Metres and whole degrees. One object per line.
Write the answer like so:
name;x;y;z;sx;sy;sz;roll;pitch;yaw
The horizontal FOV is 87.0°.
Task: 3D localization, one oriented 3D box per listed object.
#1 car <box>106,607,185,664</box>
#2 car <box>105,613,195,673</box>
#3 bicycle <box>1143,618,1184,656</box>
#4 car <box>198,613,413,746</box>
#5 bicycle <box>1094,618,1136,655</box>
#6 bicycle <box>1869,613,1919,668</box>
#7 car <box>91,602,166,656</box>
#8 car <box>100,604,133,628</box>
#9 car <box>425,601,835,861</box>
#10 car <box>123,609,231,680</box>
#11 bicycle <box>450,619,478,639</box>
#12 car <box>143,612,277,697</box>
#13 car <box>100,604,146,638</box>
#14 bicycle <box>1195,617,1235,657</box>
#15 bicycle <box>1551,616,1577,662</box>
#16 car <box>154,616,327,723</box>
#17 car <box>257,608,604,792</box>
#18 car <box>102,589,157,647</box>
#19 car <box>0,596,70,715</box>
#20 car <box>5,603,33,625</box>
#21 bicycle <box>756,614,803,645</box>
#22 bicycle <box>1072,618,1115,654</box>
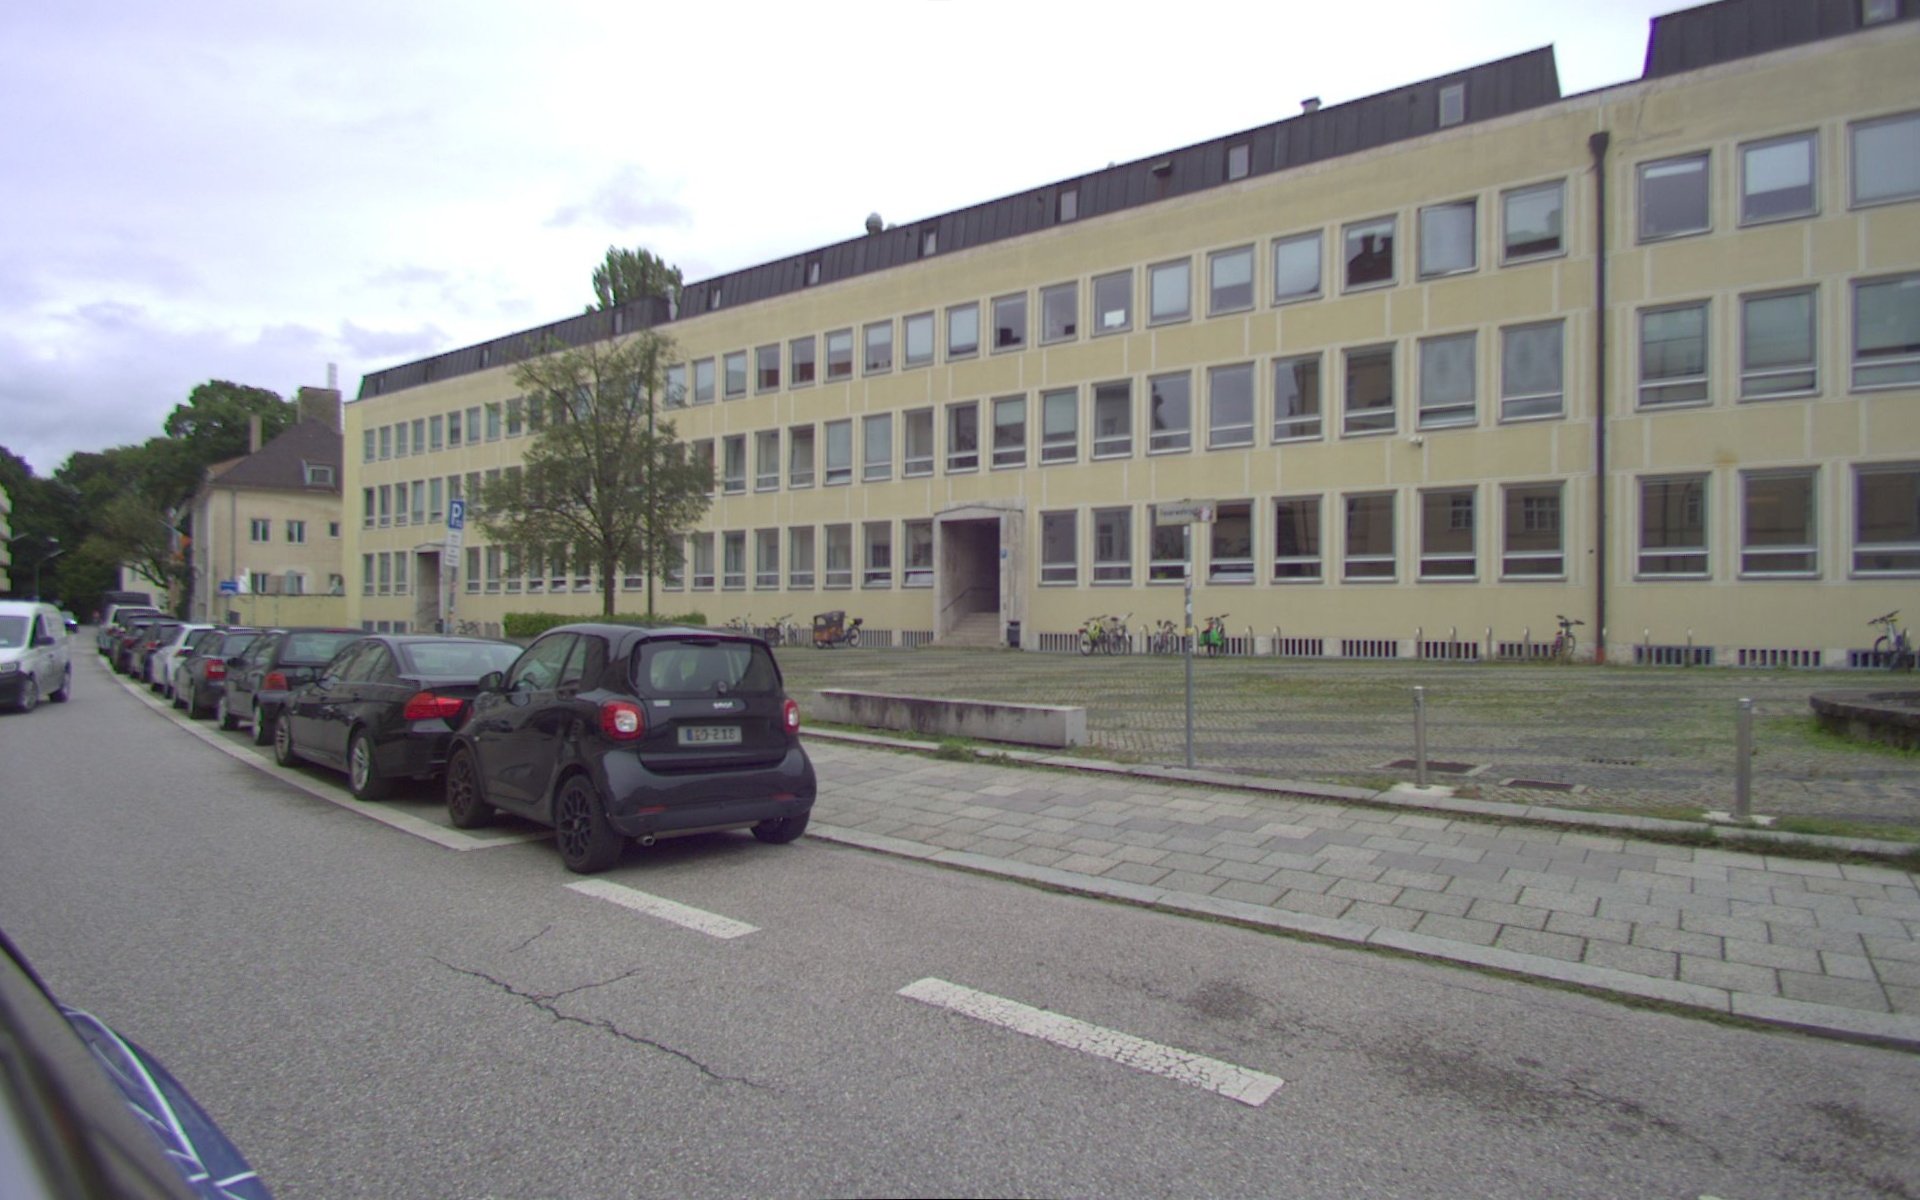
car;-26.654;1.122;33.073;1.719;1.701;4.127;2;-1;-43
car;-23.006;1.168;28.701;1.719;1.478;3.690;-2;1;-43
bicycle;5.557;0.987;27.582;0.436;0.923;1.886;0;1;33
car;-8.856;0.955;13.564;1.701;1.492;3.757;2;-2;-44
bicycle;4.353;1.016;28.349;0.436;0.923;1.886;0;1;33
bicycle;17.803;0.744;19.271;0.436;0.923;1.886;0;1;33
car;-33.119;1.117;40.272;1.921;1.991;4.359;2;-1;-44
car;-77.298;1.428;92.700;2.182;2.098;4.967;-2;1;-41
car;-2.475;0.779;7.341;2.869;1.471;1.648;0;-3;44
car;-19.754;1.051;25.480;1.720;1.557;4.086;-2;1;-43
bicycle;-23.827;1.394;48.659;0.288;0.909;1.230;0;1;33
car;-15.582;1.057;20.957;1.701;1.541;4.003;2;-2;-44
car;-56.283;1.377;68.008;2.182;2.098;4.967;-2;1;-41
bicycle;6.744;0.962;26.755;0.436;0.923;1.886;0;1;33
bicycle;13.513;0.854;22.631;0.436;0.923;1.886;0;1;33
car;-12.040;1.058;16.828;1.701;1.492;4.208;2;-2;-44
car;-5.295;0.825;9.859;4.214;1.374;1.702;0;-3;44
car;-41.468;0.853;50.512;1.969;2.738;4.967;0;0;-41
car;-16.281;0.821;16.799;1.855;1.785;4.936;2;-1;-37
car;-82.170;1.210;88.395;1.615;1.749;3.886;-2;1;-41
bicycle;-6.487;1.049;36.429;0.573;1.036;1.817;0;1;32
bicycle;3.797;1.009;28.716;0.436;0.923;1.886;0;1;33
